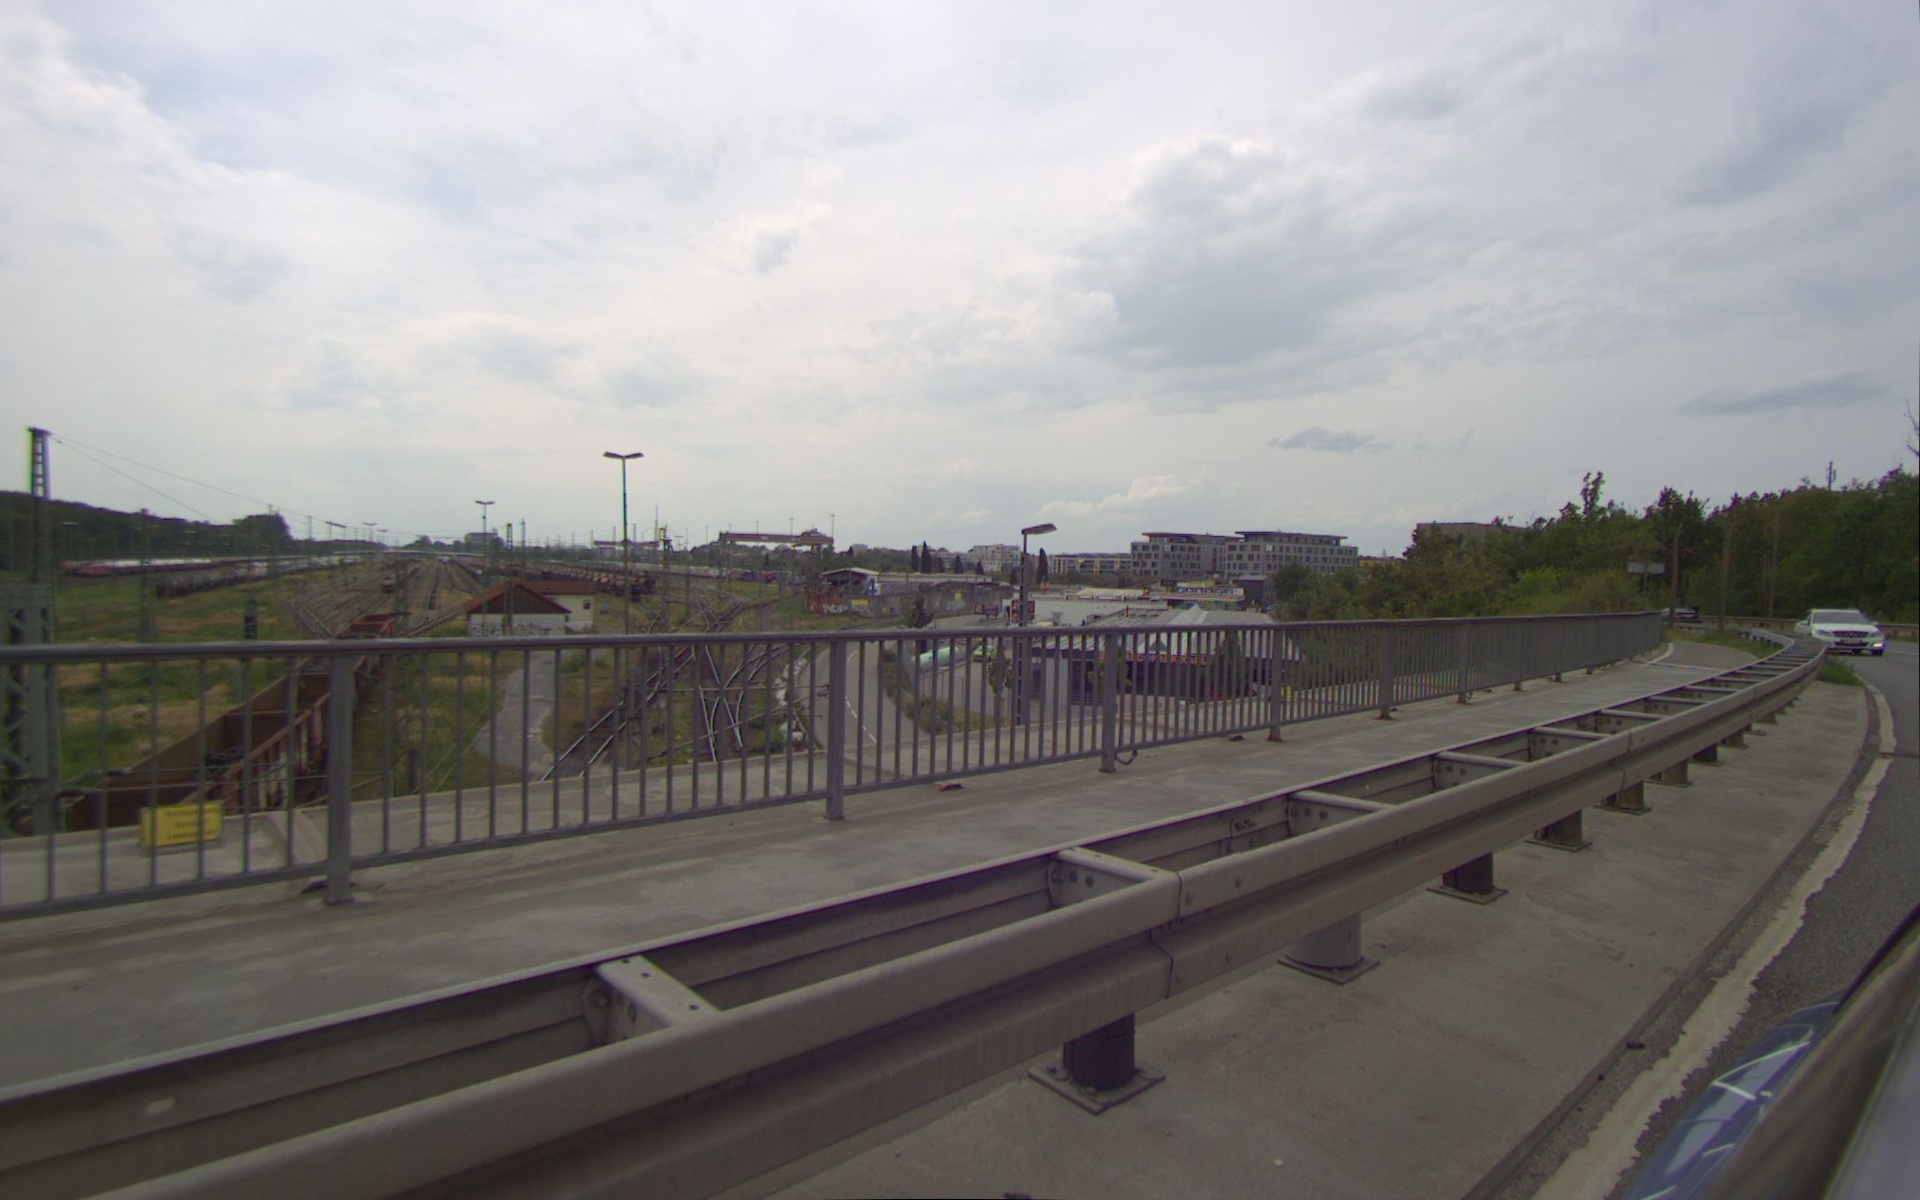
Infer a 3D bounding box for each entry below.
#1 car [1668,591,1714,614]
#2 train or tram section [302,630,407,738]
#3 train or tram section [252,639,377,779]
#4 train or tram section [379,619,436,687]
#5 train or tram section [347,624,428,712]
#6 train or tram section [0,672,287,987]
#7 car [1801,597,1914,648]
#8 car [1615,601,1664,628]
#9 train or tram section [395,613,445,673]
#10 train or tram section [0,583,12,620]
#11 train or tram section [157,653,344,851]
[{"bbox_3d":[49.978,0.167,69.285,1.691,1.515,4.291,-1,-1,24],"label":"car"},{"bbox_3d":[-39.603,5.135,66.870,3.894,5.748,15.044,0,0,-23],"label":"train or tram section"},{"bbox_3d":[-33.713,5.277,53.580,3.764,5.749,13.933,0,0,-25],"label":"train or tram section"},{"bbox_3d":[-53.087,4.849,97.672,3.725,5.695,15.592,0,0,-24],"label":"train or tram section"},{"bbox_3d":[-46.071,5.138,82.112,3.878,5.713,18.310,0,0,-24],"label":"train or tram section"},{"bbox_3d":[-22.320,5.394,28.364,3.576,5.644,13.676,0,0,-24],"label":"train or tram section"},{"bbox_3d":[28.872,0.710,32.689,1.922,1.475,3.845,-2,0,30],"label":"car"},{"bbox_3d":[44.320,0.953,66.094,1.942,1.726,4.395,0,-1,24],"label":"car"},{"bbox_3d":[-61.794,4.576,116.330,3.911,5.549,25.735,0,0,-25],"label":"train or tram section"},{"bbox_3d":[-109.412,0.214,112.323,3.187,4.221,11.401,0,0,-28],"label":"train or tram section"},{"bbox_3d":[-27.950,5.418,40.811,3.583,5.669,14.284,0,0,-24],"label":"train or tram section"}]
